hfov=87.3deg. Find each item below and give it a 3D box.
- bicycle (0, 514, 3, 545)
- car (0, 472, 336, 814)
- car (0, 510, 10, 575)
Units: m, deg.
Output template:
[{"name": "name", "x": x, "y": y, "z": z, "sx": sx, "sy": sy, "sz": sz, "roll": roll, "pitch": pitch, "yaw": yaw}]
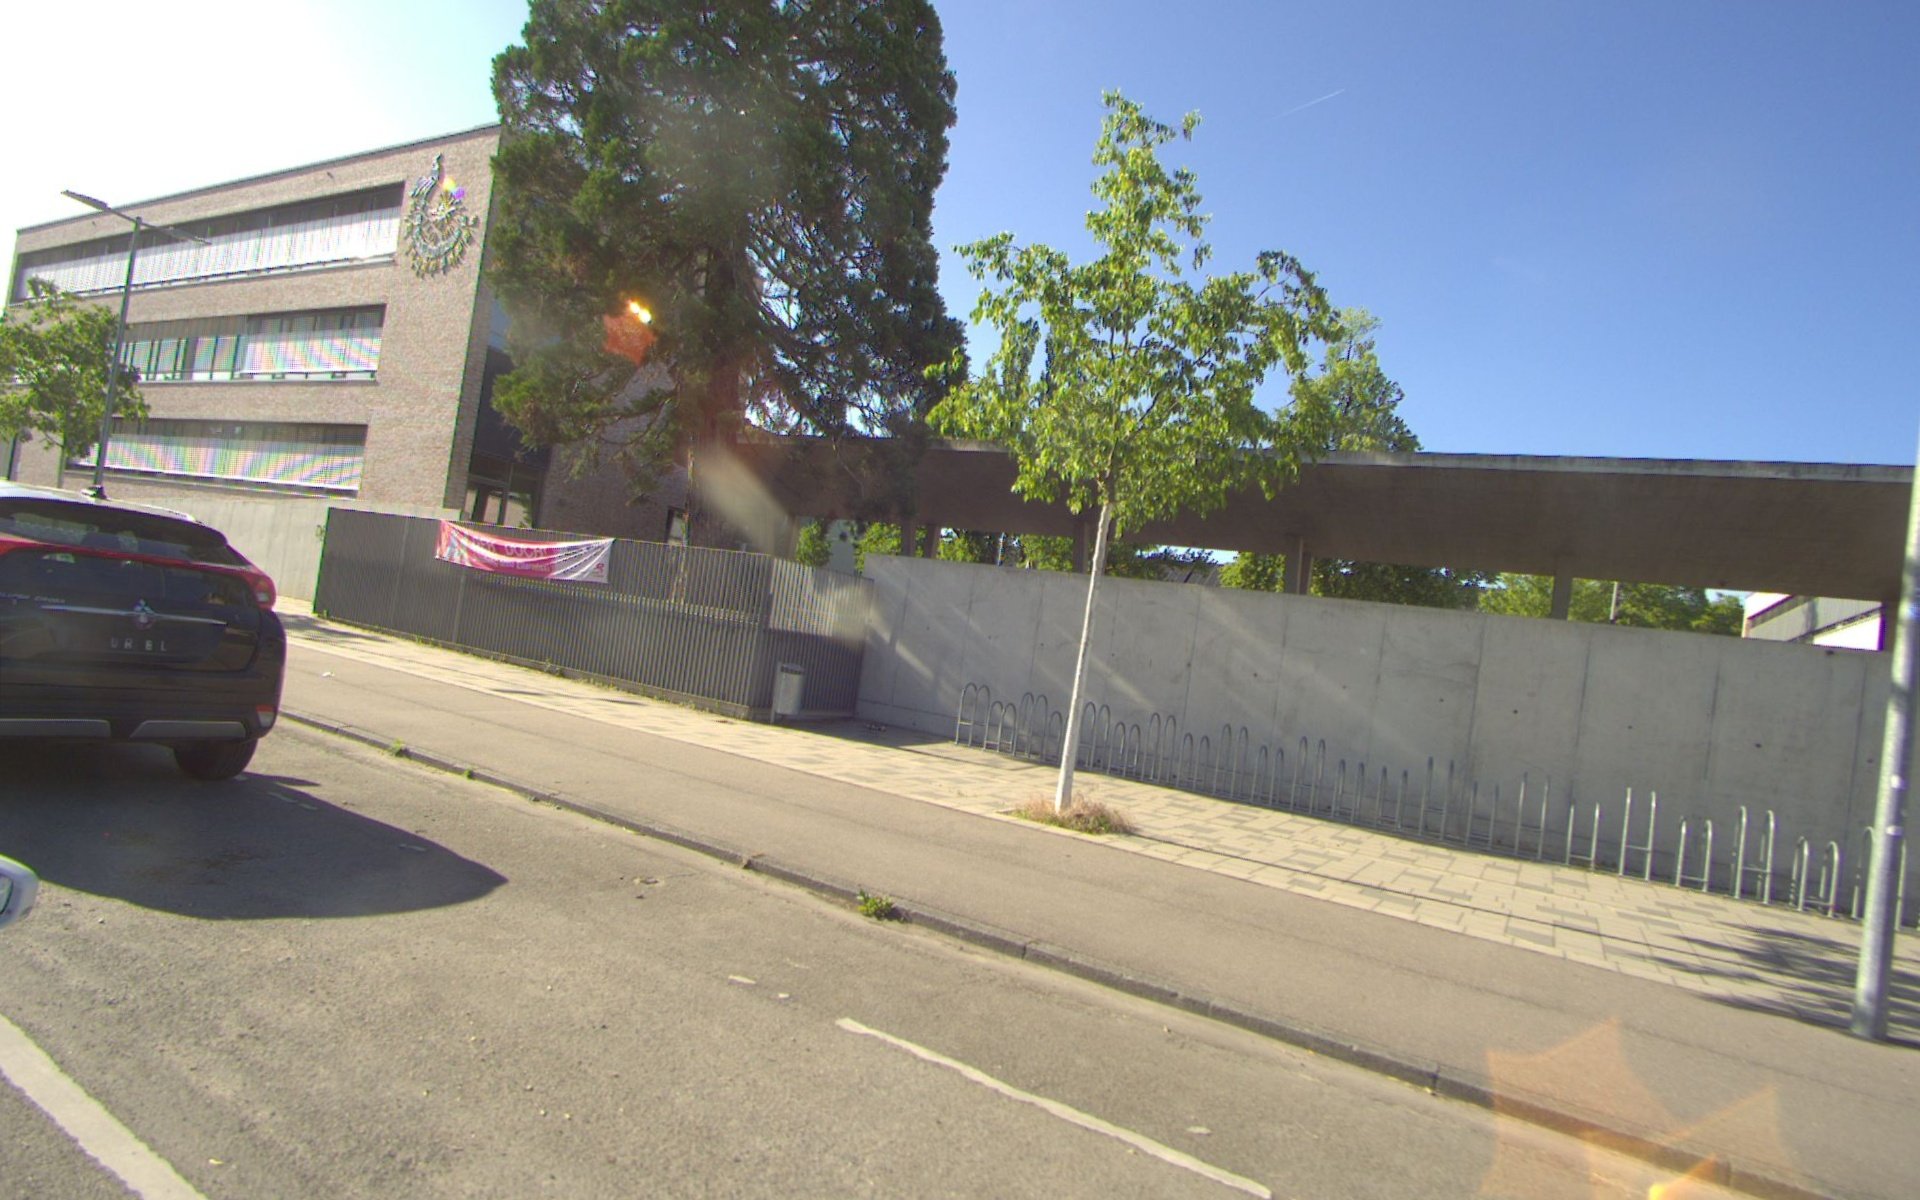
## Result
[{"name": "bicycle", "x": -35.056, "y": -2.593, "z": 35.456, "sx": 0.491, "sy": 1.121, "sz": 1.798, "roll": 7, "pitch": 0, "yaw": 29}, {"name": "car", "x": -6.280, "y": 0.065, "z": 6.490, "sx": 4.428, "sy": 1.658, "sz": 1.851, "roll": 7, "pitch": -2, "yaw": 31}, {"name": "car", "x": -11.084, "y": -0.390, "z": 9.619, "sx": 3.883, "sy": 1.471, "sz": 1.799, "roll": 7, "pitch": -3, "yaw": 31}]
